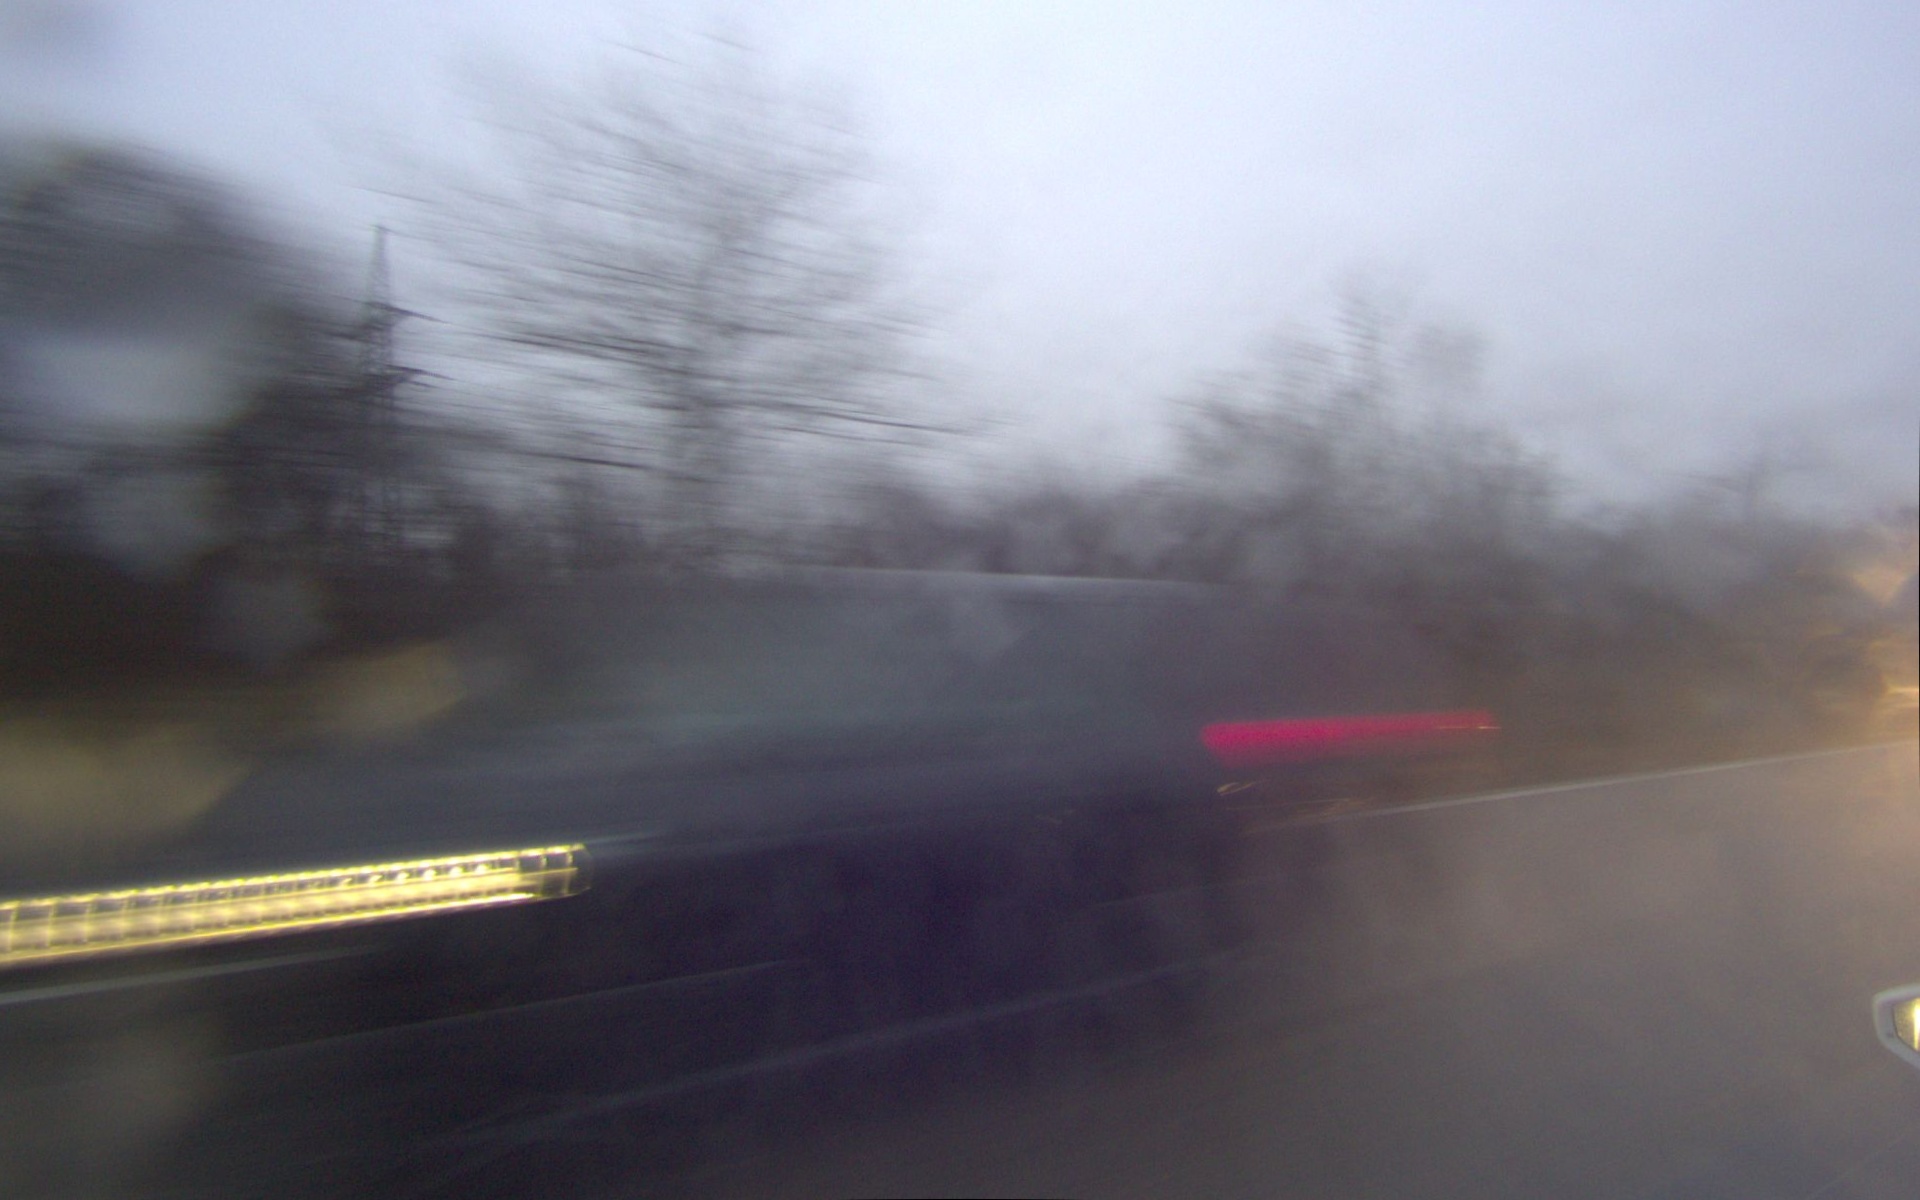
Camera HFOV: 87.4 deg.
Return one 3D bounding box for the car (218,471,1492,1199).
[{"bbox_3d":[-0.079,0.644,3.636,4.003,1.669,1.743,2,-1,-31],"label":"car"}]
